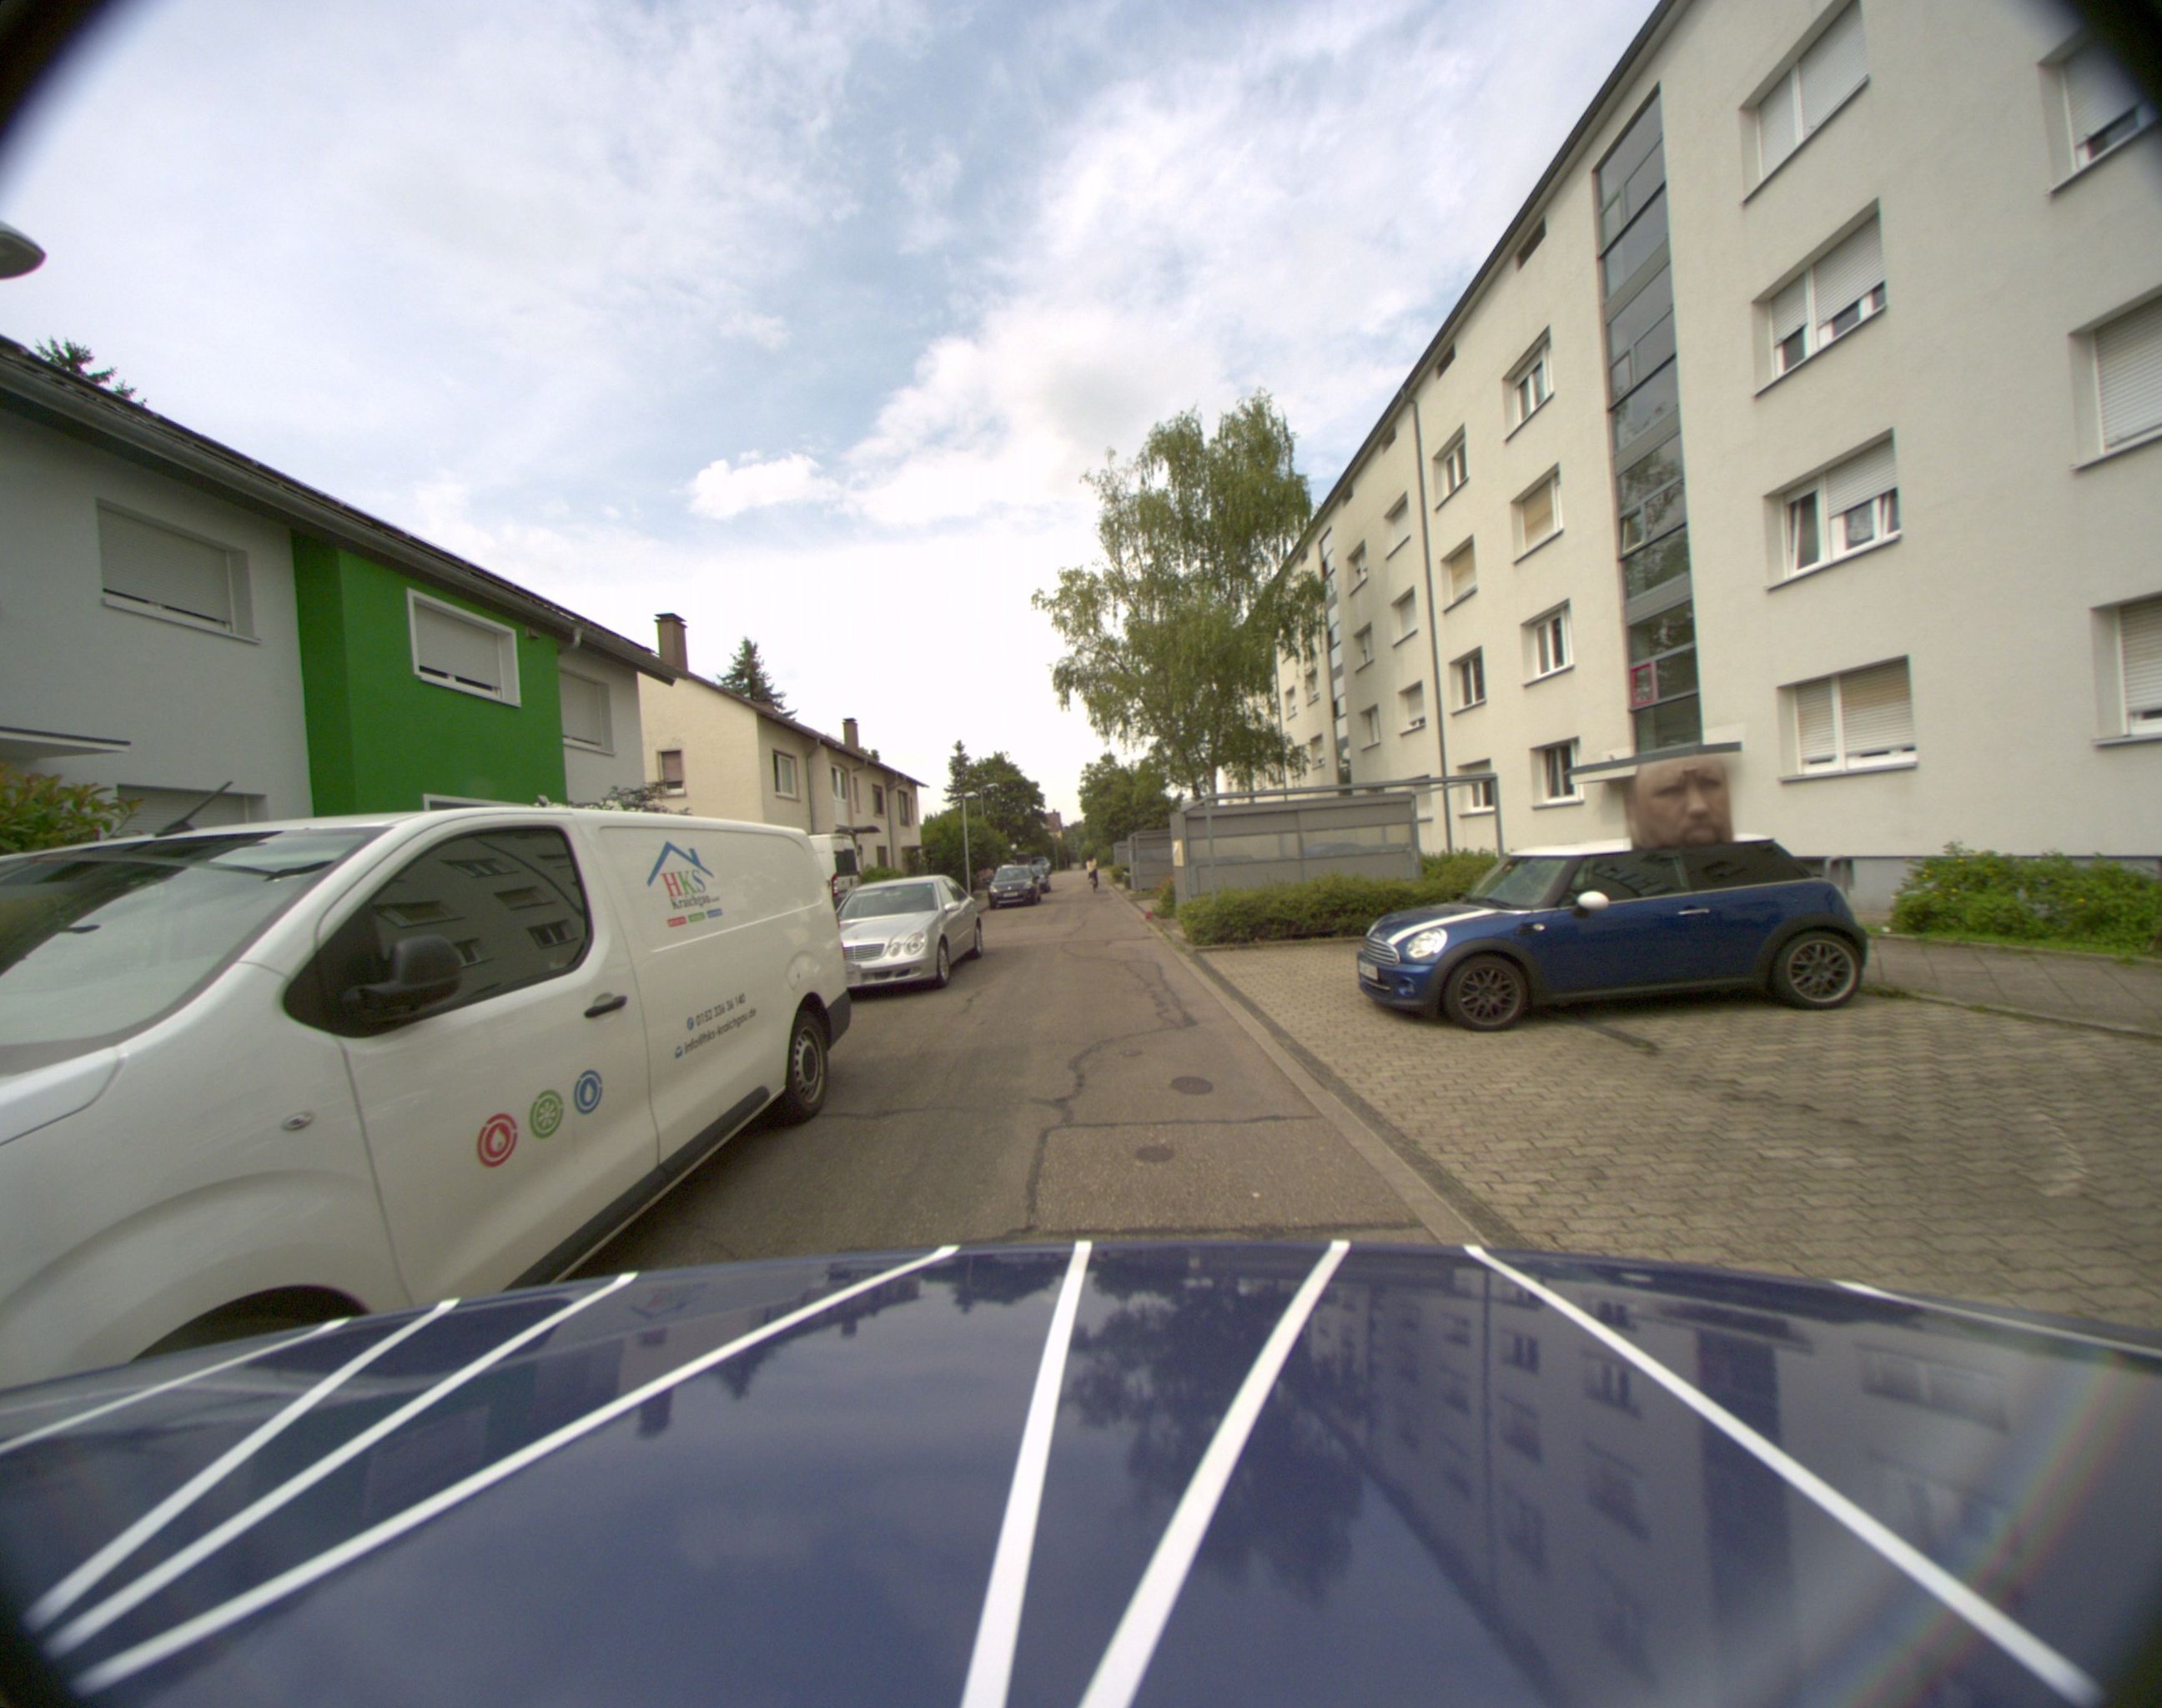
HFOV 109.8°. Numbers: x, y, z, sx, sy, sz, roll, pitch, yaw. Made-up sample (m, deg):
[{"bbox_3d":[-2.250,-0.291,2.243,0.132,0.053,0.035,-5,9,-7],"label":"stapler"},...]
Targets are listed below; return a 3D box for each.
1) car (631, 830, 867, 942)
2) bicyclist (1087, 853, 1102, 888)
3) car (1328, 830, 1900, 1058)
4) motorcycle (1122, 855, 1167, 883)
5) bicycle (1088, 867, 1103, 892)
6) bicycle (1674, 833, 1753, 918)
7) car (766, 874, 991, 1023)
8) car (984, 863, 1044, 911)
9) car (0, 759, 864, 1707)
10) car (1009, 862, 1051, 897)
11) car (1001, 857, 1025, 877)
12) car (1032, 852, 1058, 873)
[{"bbox_3d":[-8.575,0.804,20.032,5.100,2.527,2.238,-3,0,1],"label":"car"},{"bbox_3d":[0.637,0.755,35.073,0.598,1.571,0.767,-3,1,2],"label":"bicyclist"},{"bbox_3d":[4.255,0.693,6.570,3.643,1.453,1.653,-5,0,4],"label":"car"},{"bbox_3d":[3.565,0.813,42.767,2.383,1.455,0.714,-2,1,0],"label":"motorcycle"},{"bbox_3d":[0.664,1.166,35.172,0.598,1.070,2.042,-3,0,2],"label":"bicycle"},{"bbox_3d":[9.465,0.303,11.350,1.543,1.145,0.480,-4,1,-35],"label":"bicycle"},{"bbox_3d":[-2.614,1.161,11.028,1.788,1.412,4.455,-6,0,2],"label":"car"},{"bbox_3d":[-2.410,1.176,28.327,1.834,1.449,4.189,-5,0,-1],"label":"car"},{"bbox_3d":[-2.673,0.903,3.028,1.908,1.953,5.253,-6,0,0],"label":"car"},{"bbox_3d":[-2.523,1.238,38.467,1.834,1.449,4.189,-5,0,-1],"label":"car"},{"bbox_3d":[-5.780,1.086,64.635,1.705,1.458,3.998,-4,2,-2],"label":"car"},{"bbox_3d":[-3.023,0.700,64.021,1.926,1.576,3.999,-6,0,-2],"label":"car"}]
